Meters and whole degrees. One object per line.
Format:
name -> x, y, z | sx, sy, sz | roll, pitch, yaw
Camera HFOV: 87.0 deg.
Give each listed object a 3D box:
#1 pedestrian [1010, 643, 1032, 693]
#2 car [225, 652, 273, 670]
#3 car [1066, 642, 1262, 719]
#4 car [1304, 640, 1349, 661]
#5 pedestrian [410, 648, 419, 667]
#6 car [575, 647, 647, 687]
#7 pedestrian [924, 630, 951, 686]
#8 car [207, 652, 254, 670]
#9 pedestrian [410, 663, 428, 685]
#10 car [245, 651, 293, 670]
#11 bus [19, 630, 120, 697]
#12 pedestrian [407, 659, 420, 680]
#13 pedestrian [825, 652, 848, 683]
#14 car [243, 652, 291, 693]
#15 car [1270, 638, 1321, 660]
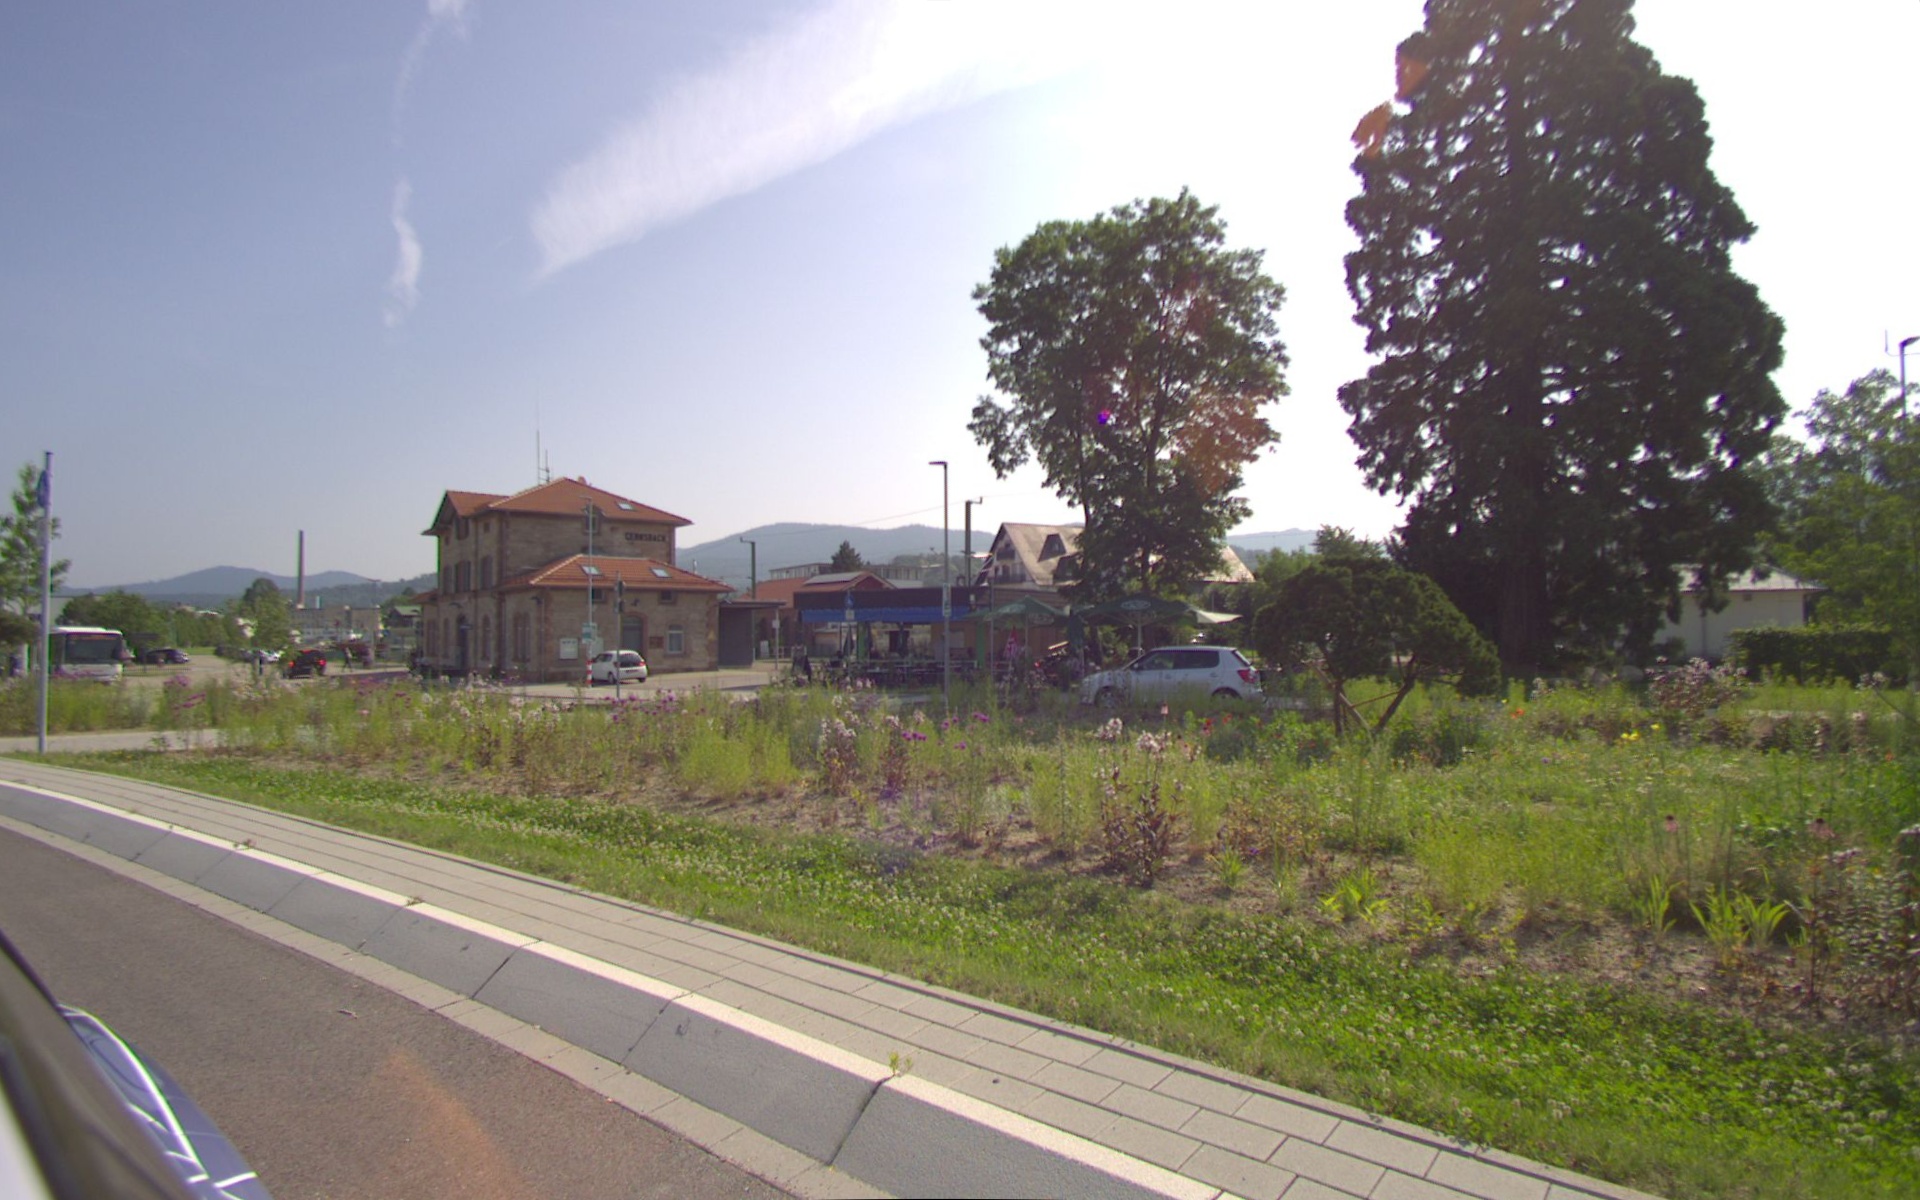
pedestrian -> 2.065, 2.284, 34.111 | 0.563, 1.602, 0.647 | -2, -1, 15
car -> -79.317, 6.784, 112.883 | 1.831, 1.740, 3.959 | -2, 0, 30
car -> 4.427, 1.697, 21.956 | 3.970, 1.543, 1.664 | -1, -3, 21
car -> 22.643, 3.093, 62.421 | 3.139, 1.106, 1.381 | -2, 1, -45
pedestrian -> -34.254, 3.632, 63.592 | 0.366, 1.171, 0.507 | -2, -1, -40
car -> -16.028, 3.056, 46.419 | 3.652, 1.580, 1.655 | -1, 1, 44
pedestrian -> -0.825, 2.135, 37.453 | 0.702, 2.029, 0.854 | -2, -1, 15
car -> -83.256, 6.952, 115.545 | 1.831, 1.740, 3.959 | -2, 0, 30
pedestrian -> -30.703, 4.178, 57.474 | 0.778, 1.171, 0.507 | -2, -1, -40
car -> -75.303, 6.611, 110.354 | 1.831, 1.740, 3.959 | -2, 0, 30
bus -> -49.645, 3.473, 56.304 | 10.578, 3.354, 2.554 | -3, -1, 40
pedestrian -> -32.069, 4.056, 59.391 | 0.504, 1.171, 0.507 | -2, -1, -40
pedestrian -> -4.764, 2.597, 39.038 | 0.677, 1.173, 0.554 | -2, -1, 27
car -> -38.425, 3.983, 56.180 | 1.945, 1.979, 5.172 | -2, 0, -32
car -> 21.605, 3.163, 65.121 | 3.477, 1.186, 1.501 | -2, -1, -40
